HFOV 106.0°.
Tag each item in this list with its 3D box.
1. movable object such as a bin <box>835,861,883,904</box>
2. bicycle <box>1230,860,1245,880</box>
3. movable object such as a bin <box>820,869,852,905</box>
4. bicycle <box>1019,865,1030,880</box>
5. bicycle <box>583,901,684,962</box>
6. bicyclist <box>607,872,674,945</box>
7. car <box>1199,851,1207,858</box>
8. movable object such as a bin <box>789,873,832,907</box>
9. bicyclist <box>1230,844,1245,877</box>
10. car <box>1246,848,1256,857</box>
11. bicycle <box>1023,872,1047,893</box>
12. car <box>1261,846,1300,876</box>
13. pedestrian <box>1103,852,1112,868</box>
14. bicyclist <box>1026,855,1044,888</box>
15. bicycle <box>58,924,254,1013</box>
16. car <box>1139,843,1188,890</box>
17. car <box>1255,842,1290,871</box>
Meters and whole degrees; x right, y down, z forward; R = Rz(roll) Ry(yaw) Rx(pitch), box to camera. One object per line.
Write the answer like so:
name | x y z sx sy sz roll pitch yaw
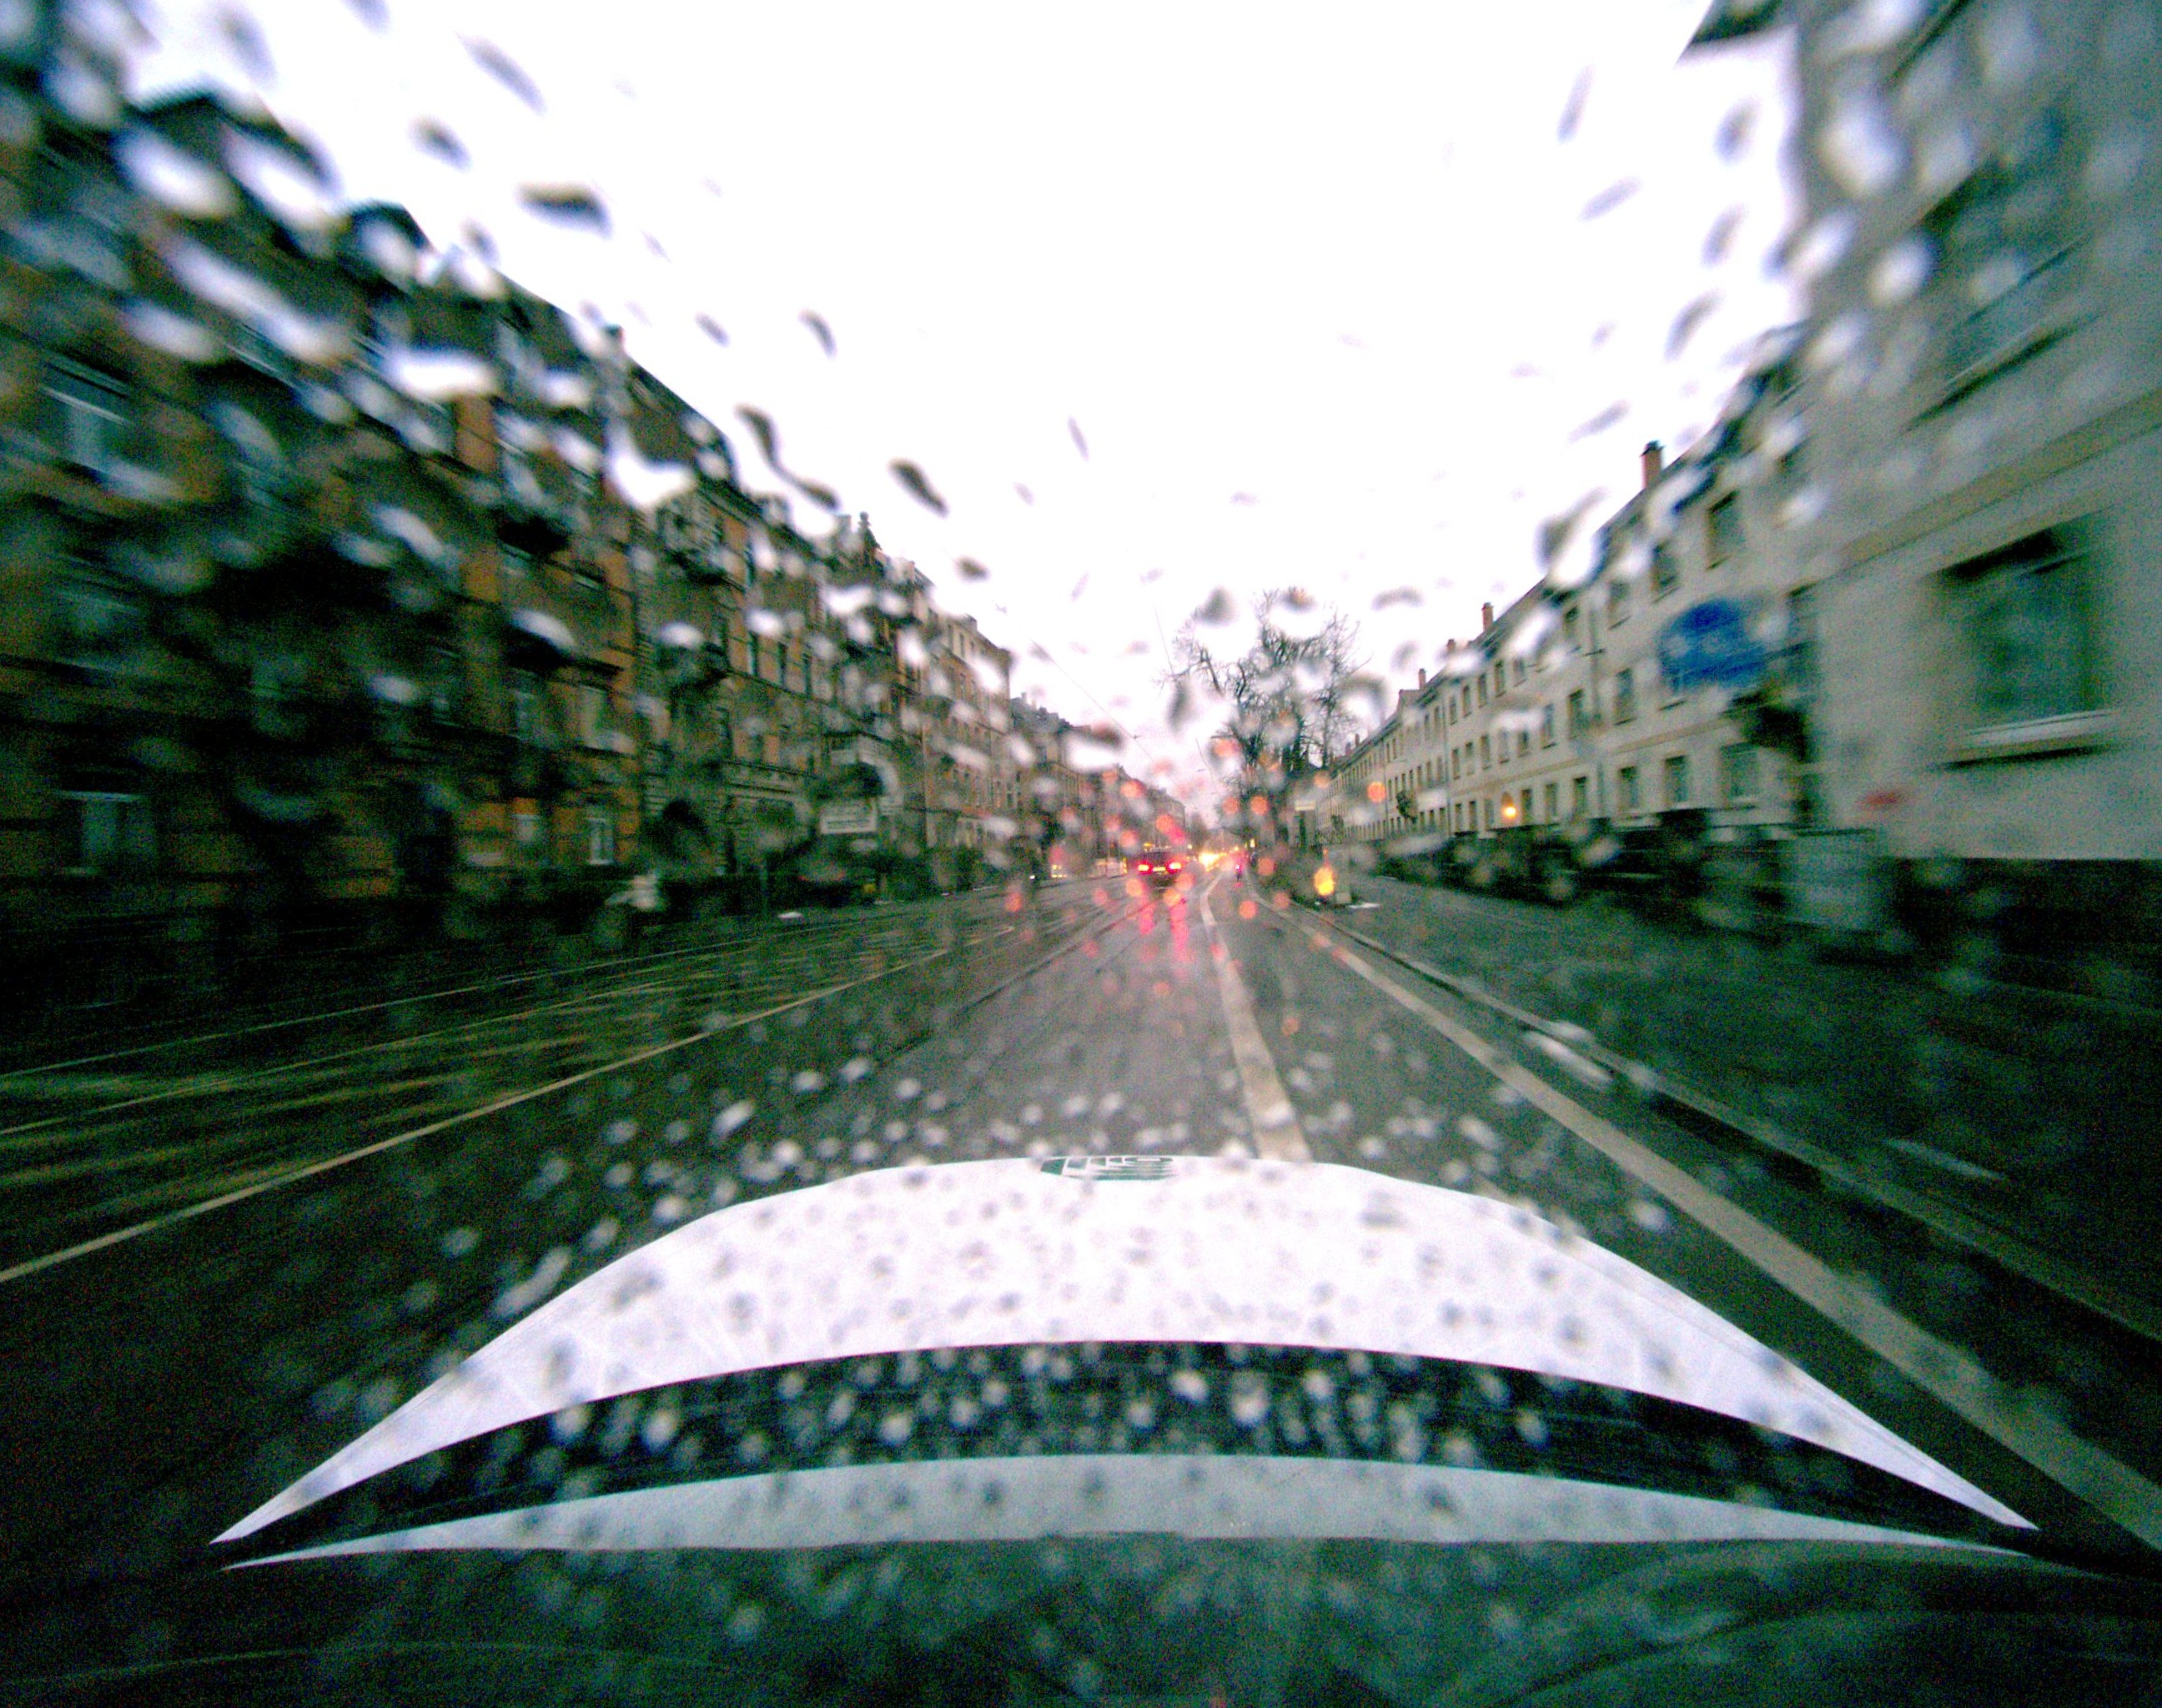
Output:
movable object such as a bin | -8.601 1.088 31.621 1.234 1.586 1.313 -2 0 16
bicycle | 8.412 0.856 43.647 0.726 1.007 1.770 -2 0 12
movable object such as a bin | -9.264 1.254 30.786 0.890 1.292 0.748 -2 0 8
bicycle | -3.679 1.187 53.346 0.261 0.915 1.691 3 1 11
bicycle | -8.677 1.485 15.880 0.677 1.007 1.809 -2 0 12
bicyclist | -8.655 1.057 16.029 0.700 1.364 0.947 -1 0 12
car | 31.604 0.134 210.585 1.911 1.720 4.012 -3 0 11
movable object such as a bin | -10.309 1.380 31.057 1.178 1.207 0.948 -2 0 8
bicyclist | 8.407 0.360 43.692 0.725 1.736 0.768 -2 -1 12
car | 30.673 -0.203 147.029 1.774 1.509 4.121 -3 0 11
bicycle | -2.306 1.452 41.236 0.674 0.972 1.939 -2 0 12
car | 10.718 0.360 43.986 1.774 1.509 3.999 -3 0 10
pedestrian | 2.962 0.674 91.638 0.723 1.773 0.763 -2 -1 -28
bicyclist | -2.338 0.879 41.167 0.679 1.616 0.768 -2 -1 12
bicycle | -13.083 1.585 11.607 0.413 1.007 1.855 -2 0 12
car | 3.535 0.480 34.420 1.791 1.871 4.028 0 0 9
car | 12.334 0.156 52.754 1.894 1.727 4.917 -3 0 10
